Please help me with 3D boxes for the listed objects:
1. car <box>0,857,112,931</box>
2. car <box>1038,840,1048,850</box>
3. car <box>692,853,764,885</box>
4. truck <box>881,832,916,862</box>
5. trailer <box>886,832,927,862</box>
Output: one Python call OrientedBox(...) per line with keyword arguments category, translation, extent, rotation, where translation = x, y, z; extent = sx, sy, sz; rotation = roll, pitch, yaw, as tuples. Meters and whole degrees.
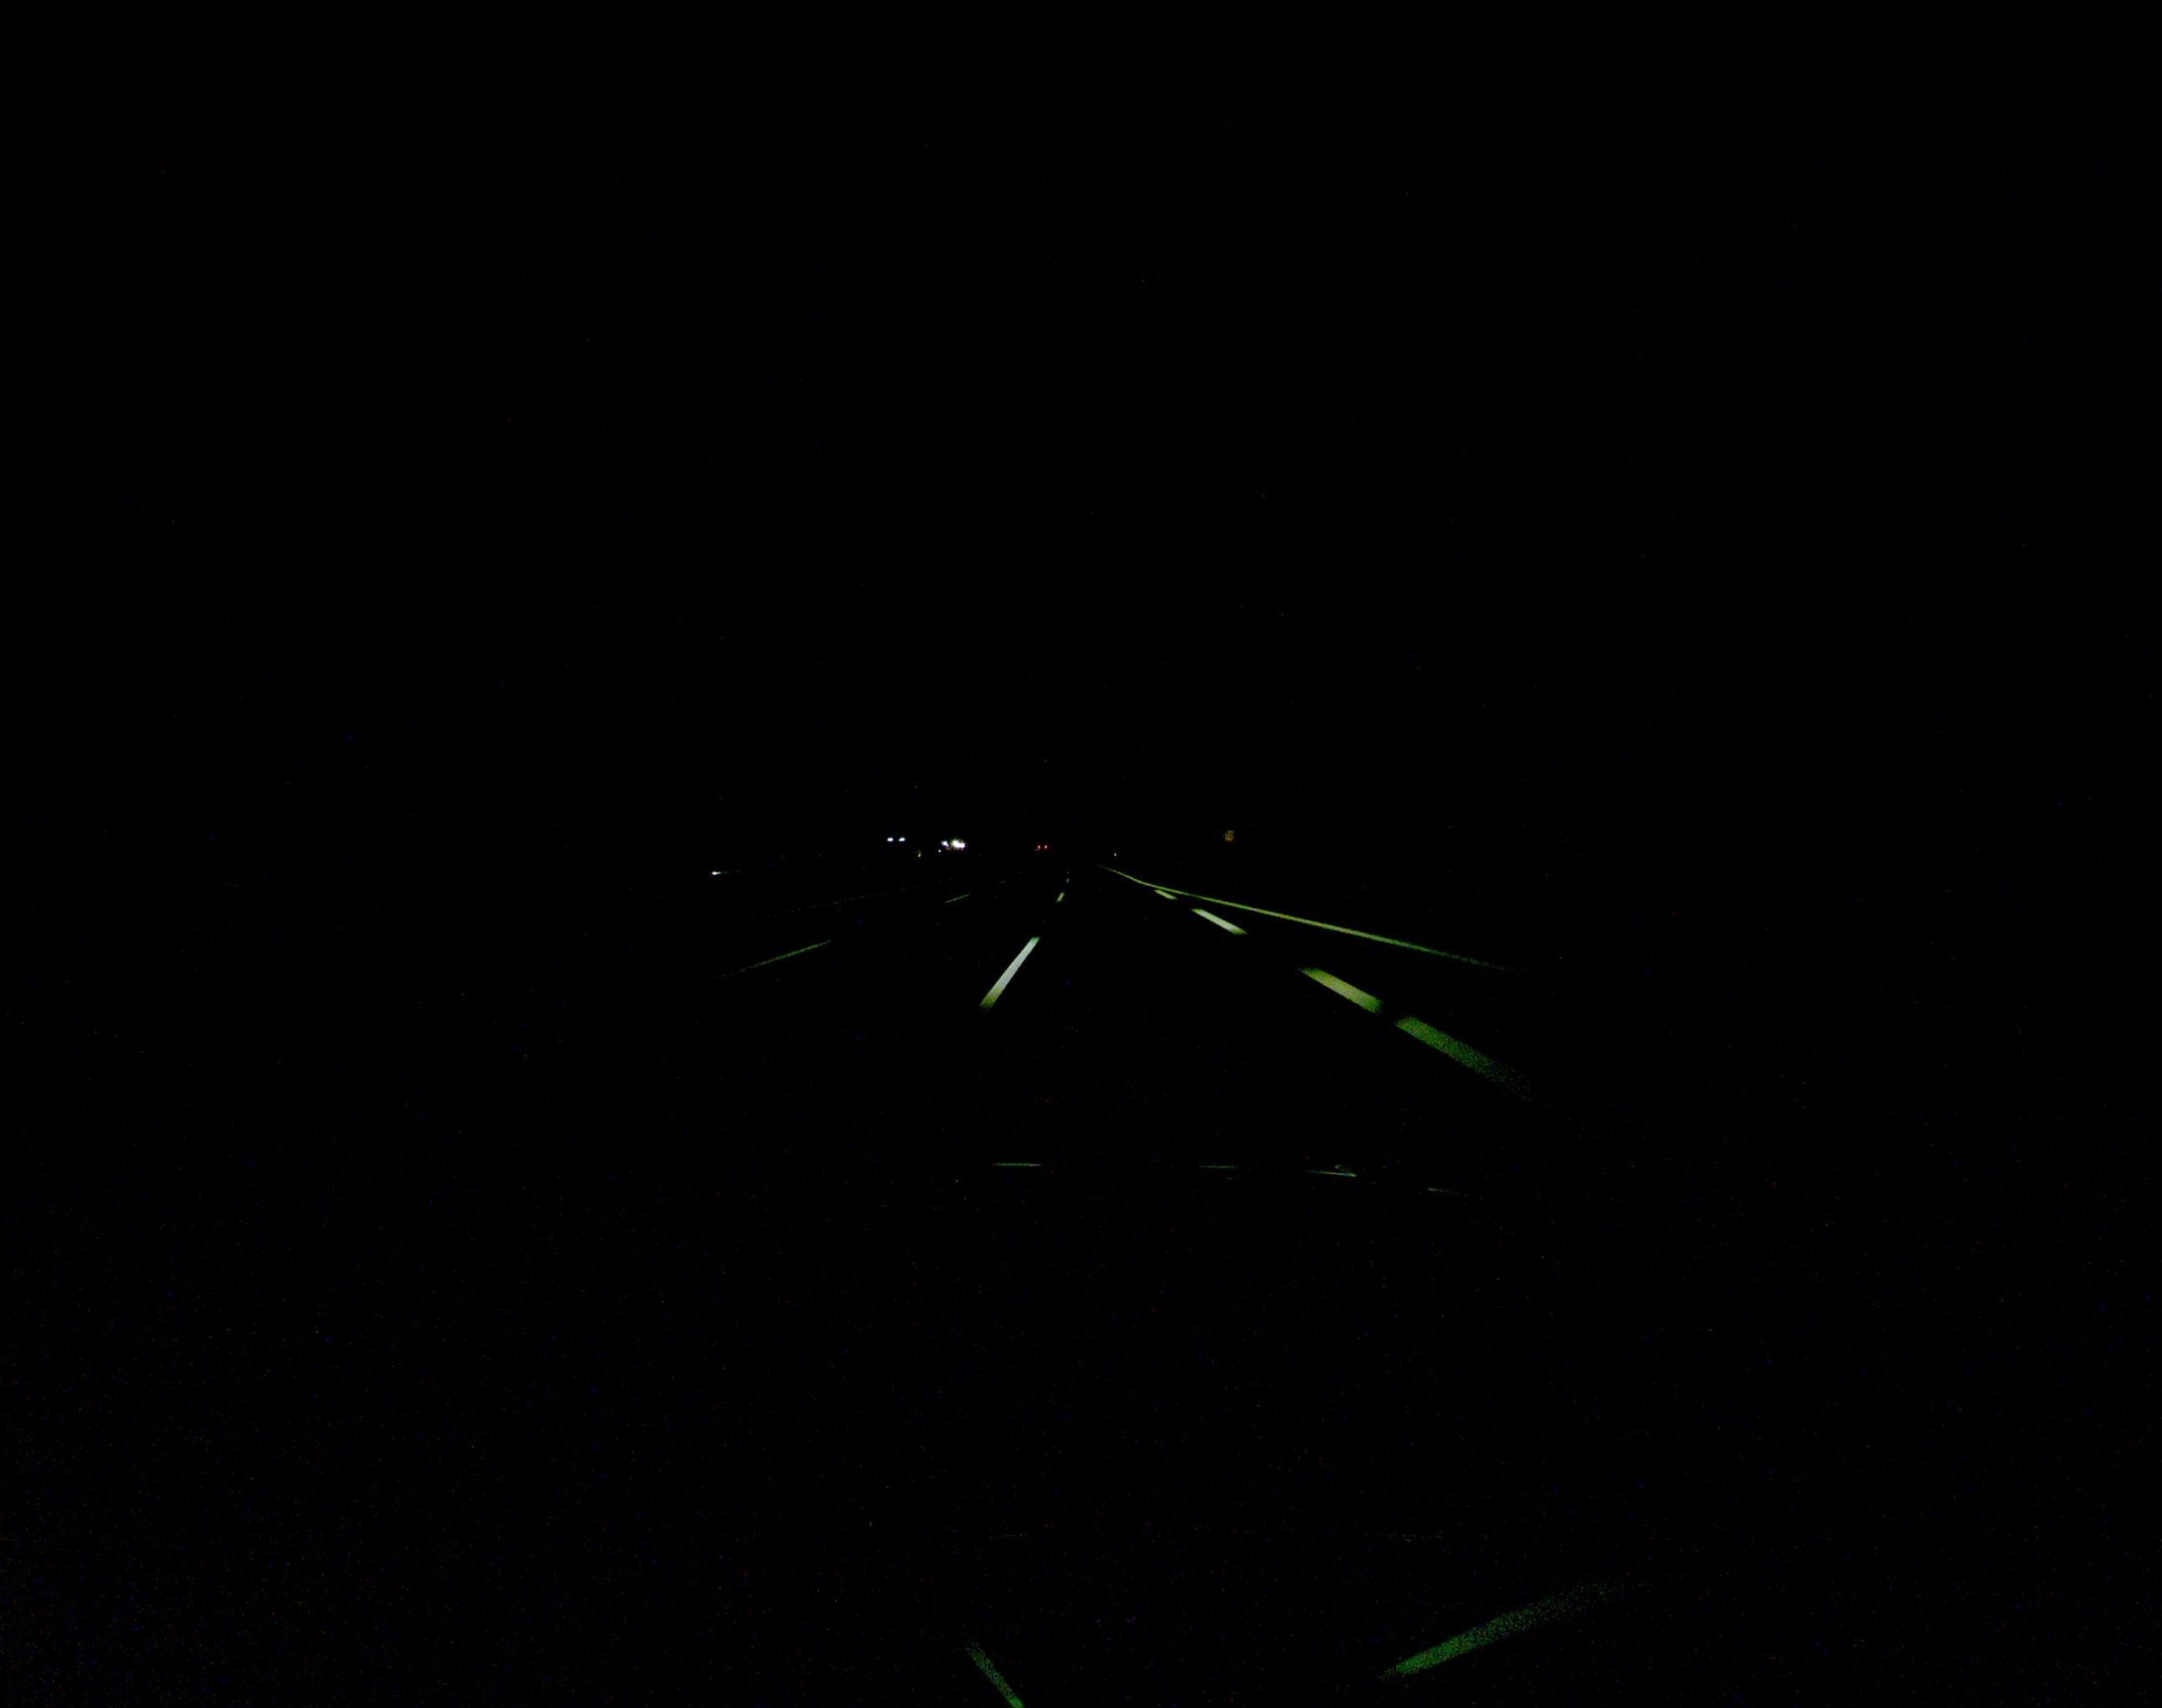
OrientedBox(category="car", translation=(-23.149, 0.845, 16.589), extent=(1.986, 1.508, 4.001), rotation=(-1, 0, 1))
OrientedBox(category="car", translation=(-9.964, -2.288, 213.692), extent=(2.523, 2.553, 6.042), rotation=(2, 0, -4))
OrientedBox(category="car", translation=(-18.634, 0.747, 43.230), extent=(1.986, 1.508, 4.001), rotation=(-1, 1, 1))
OrientedBox(category="truck", translation=(-25.270, -0.984, 113.143), extent=(3.581, 4.099, 5.989), rotation=(-1, 0, -2))
OrientedBox(category="trailer", translation=(-25.555, -1.039, 120.092), extent=(3.591, 4.090, 14.110), rotation=(-1, 0, -3))
